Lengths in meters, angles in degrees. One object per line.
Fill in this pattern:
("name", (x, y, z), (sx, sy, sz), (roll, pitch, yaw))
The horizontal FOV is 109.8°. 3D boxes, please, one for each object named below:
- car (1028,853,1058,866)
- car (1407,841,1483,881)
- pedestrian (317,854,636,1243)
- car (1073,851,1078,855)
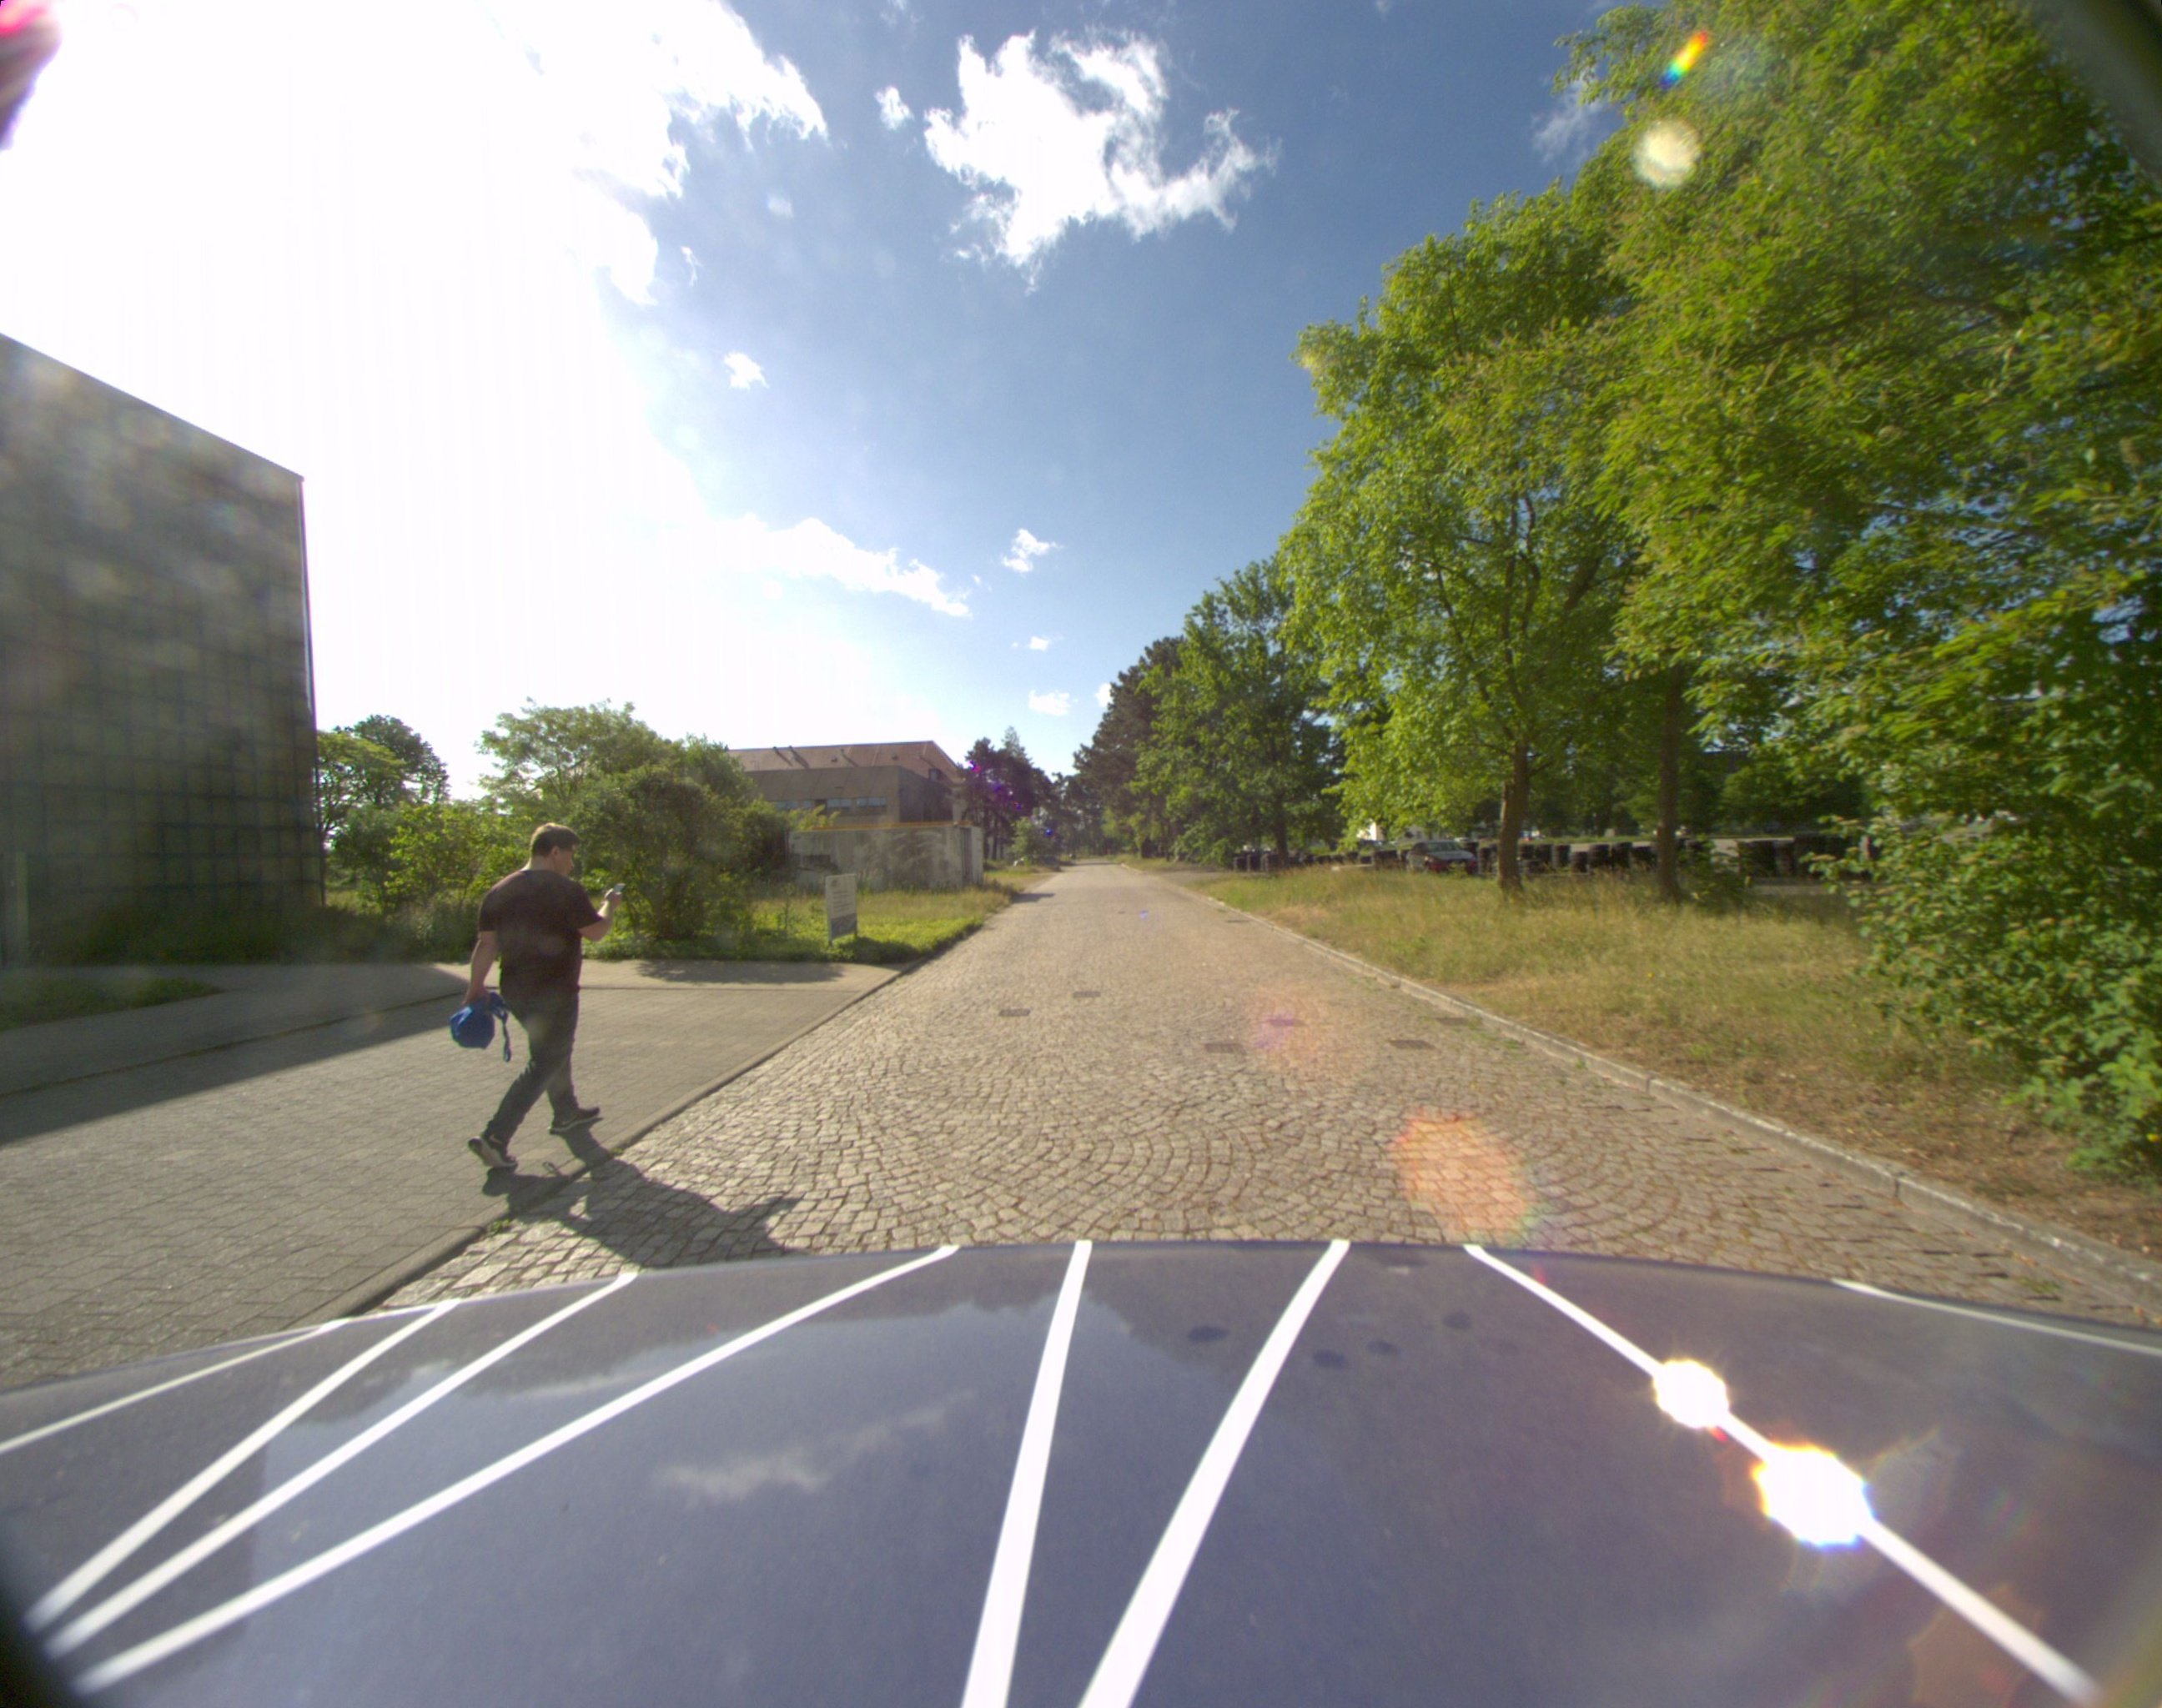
("car", (-3.955, 0.558, 78.409), (2.911, 1.252, 1.287), (-2, 1, -8))
("car", (13.879, 0.246, 29.164), (1.544, 1.398, 3.579), (-2, 0, 7))
("pedestrian", (-3.068, 0.891, 4.003), (0.797, 1.770, 1.068), (-1, 1, -1))
("car", (-1.434, -0.300, 193.775), (1.373, 1.092, 2.862), (-2, 0, -2))
